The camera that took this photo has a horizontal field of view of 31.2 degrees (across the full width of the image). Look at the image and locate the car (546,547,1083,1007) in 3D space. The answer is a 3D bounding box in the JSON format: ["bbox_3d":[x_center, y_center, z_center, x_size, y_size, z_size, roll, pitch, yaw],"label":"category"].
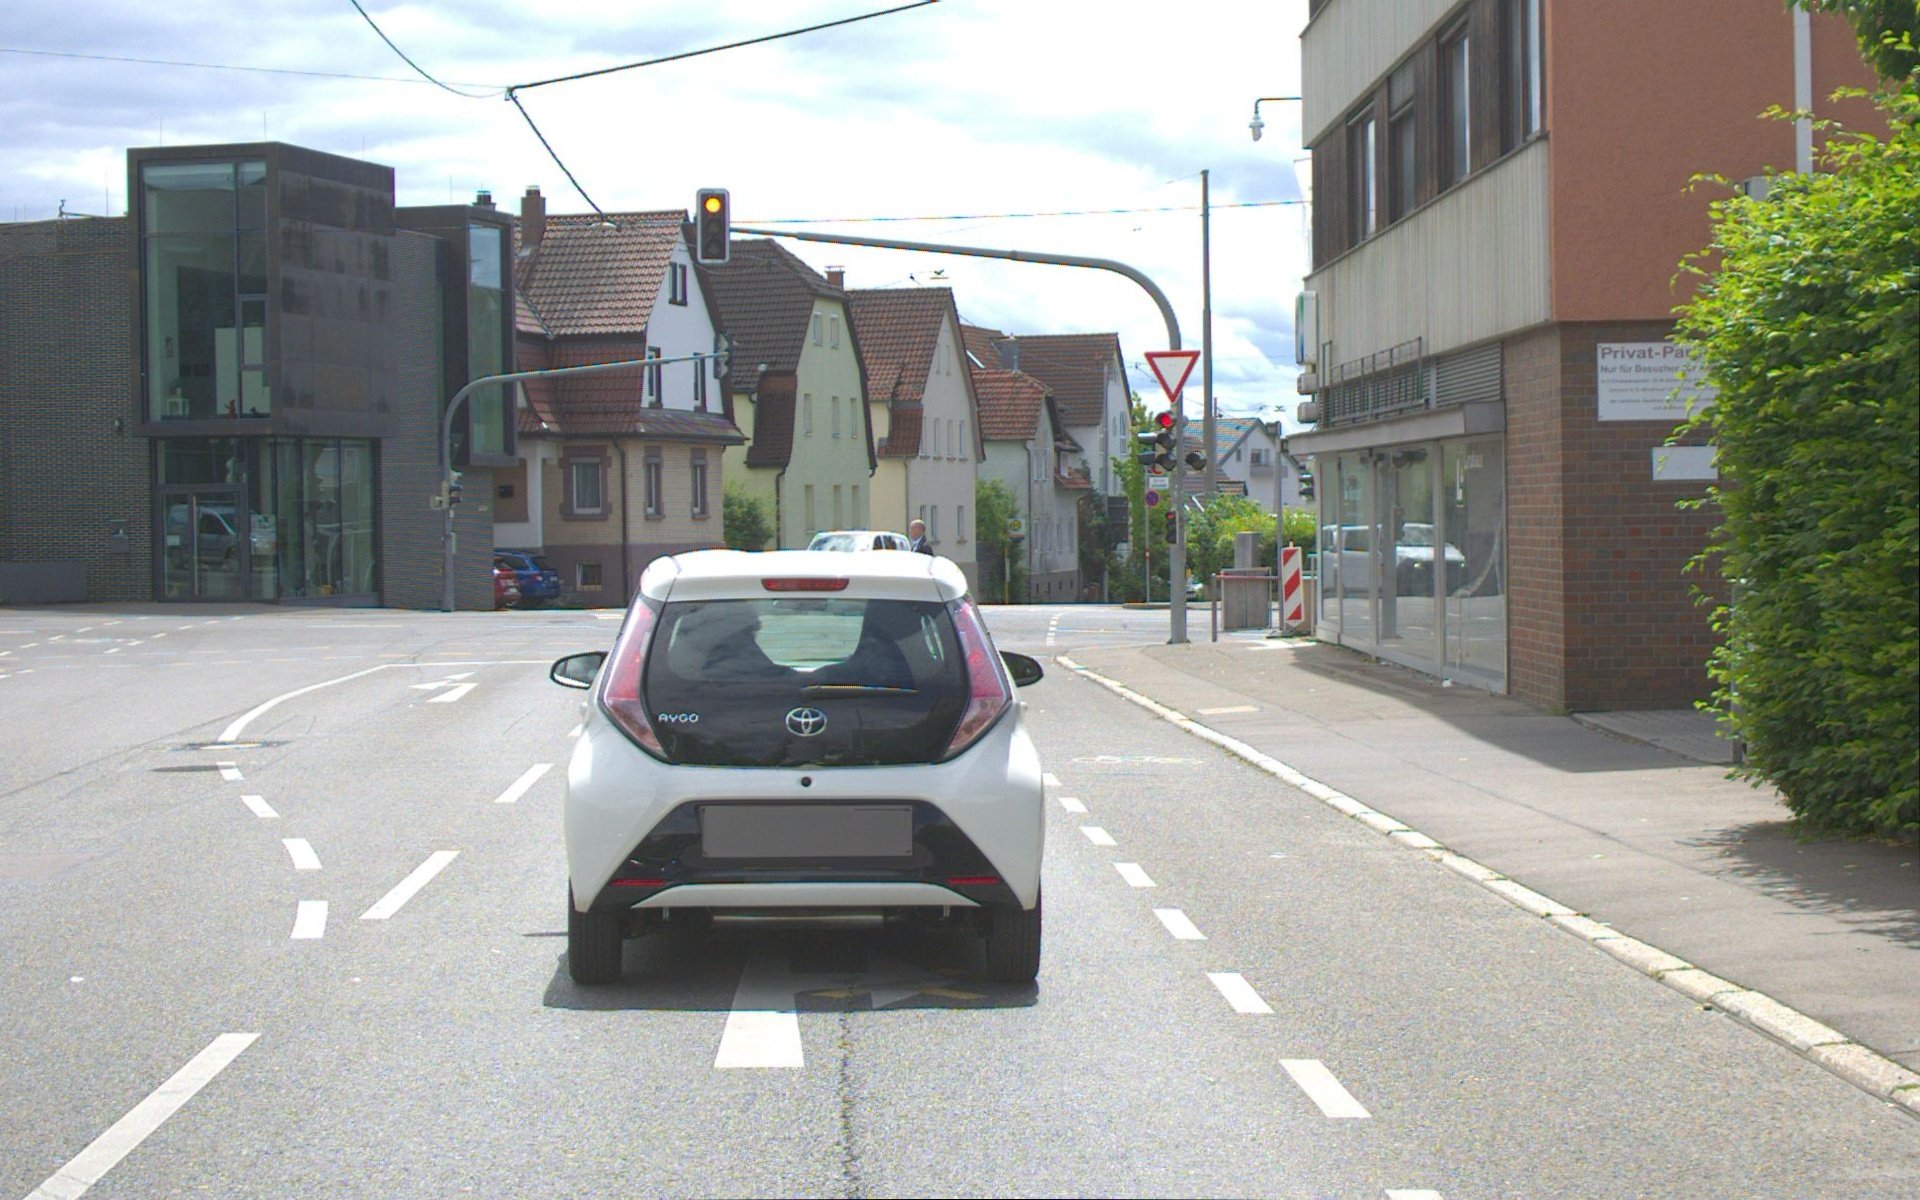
[{"bbox_3d":[-0.564,0.555,12.750,1.697,1.451,3.299,1,1,-3],"label":"car"}]

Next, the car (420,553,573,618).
[{"bbox_3d":[-12.168,-0.387,90.334,3.616,1.600,1.691,2,1,10],"label":"car"}]

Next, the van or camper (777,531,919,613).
[{"bbox_3d":[-2.721,-0.689,84.726,2.117,1.919,5.282,2,1,14],"label":"van or camper"}]

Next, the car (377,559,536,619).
[{"bbox_3d":[-12.811,-0.292,87.551,3.616,1.414,1.691,2,1,10],"label":"car"}]

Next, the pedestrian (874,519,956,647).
[{"bbox_3d":[-0.613,-0.235,46.384,0.822,1.715,0.818,0,1,-28],"label":"pedestrian"}]

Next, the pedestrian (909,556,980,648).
[{"bbox_3d":[-0.207,0.022,45.740,0.733,1.217,0.646,0,1,-27],"label":"pedestrian"}]
